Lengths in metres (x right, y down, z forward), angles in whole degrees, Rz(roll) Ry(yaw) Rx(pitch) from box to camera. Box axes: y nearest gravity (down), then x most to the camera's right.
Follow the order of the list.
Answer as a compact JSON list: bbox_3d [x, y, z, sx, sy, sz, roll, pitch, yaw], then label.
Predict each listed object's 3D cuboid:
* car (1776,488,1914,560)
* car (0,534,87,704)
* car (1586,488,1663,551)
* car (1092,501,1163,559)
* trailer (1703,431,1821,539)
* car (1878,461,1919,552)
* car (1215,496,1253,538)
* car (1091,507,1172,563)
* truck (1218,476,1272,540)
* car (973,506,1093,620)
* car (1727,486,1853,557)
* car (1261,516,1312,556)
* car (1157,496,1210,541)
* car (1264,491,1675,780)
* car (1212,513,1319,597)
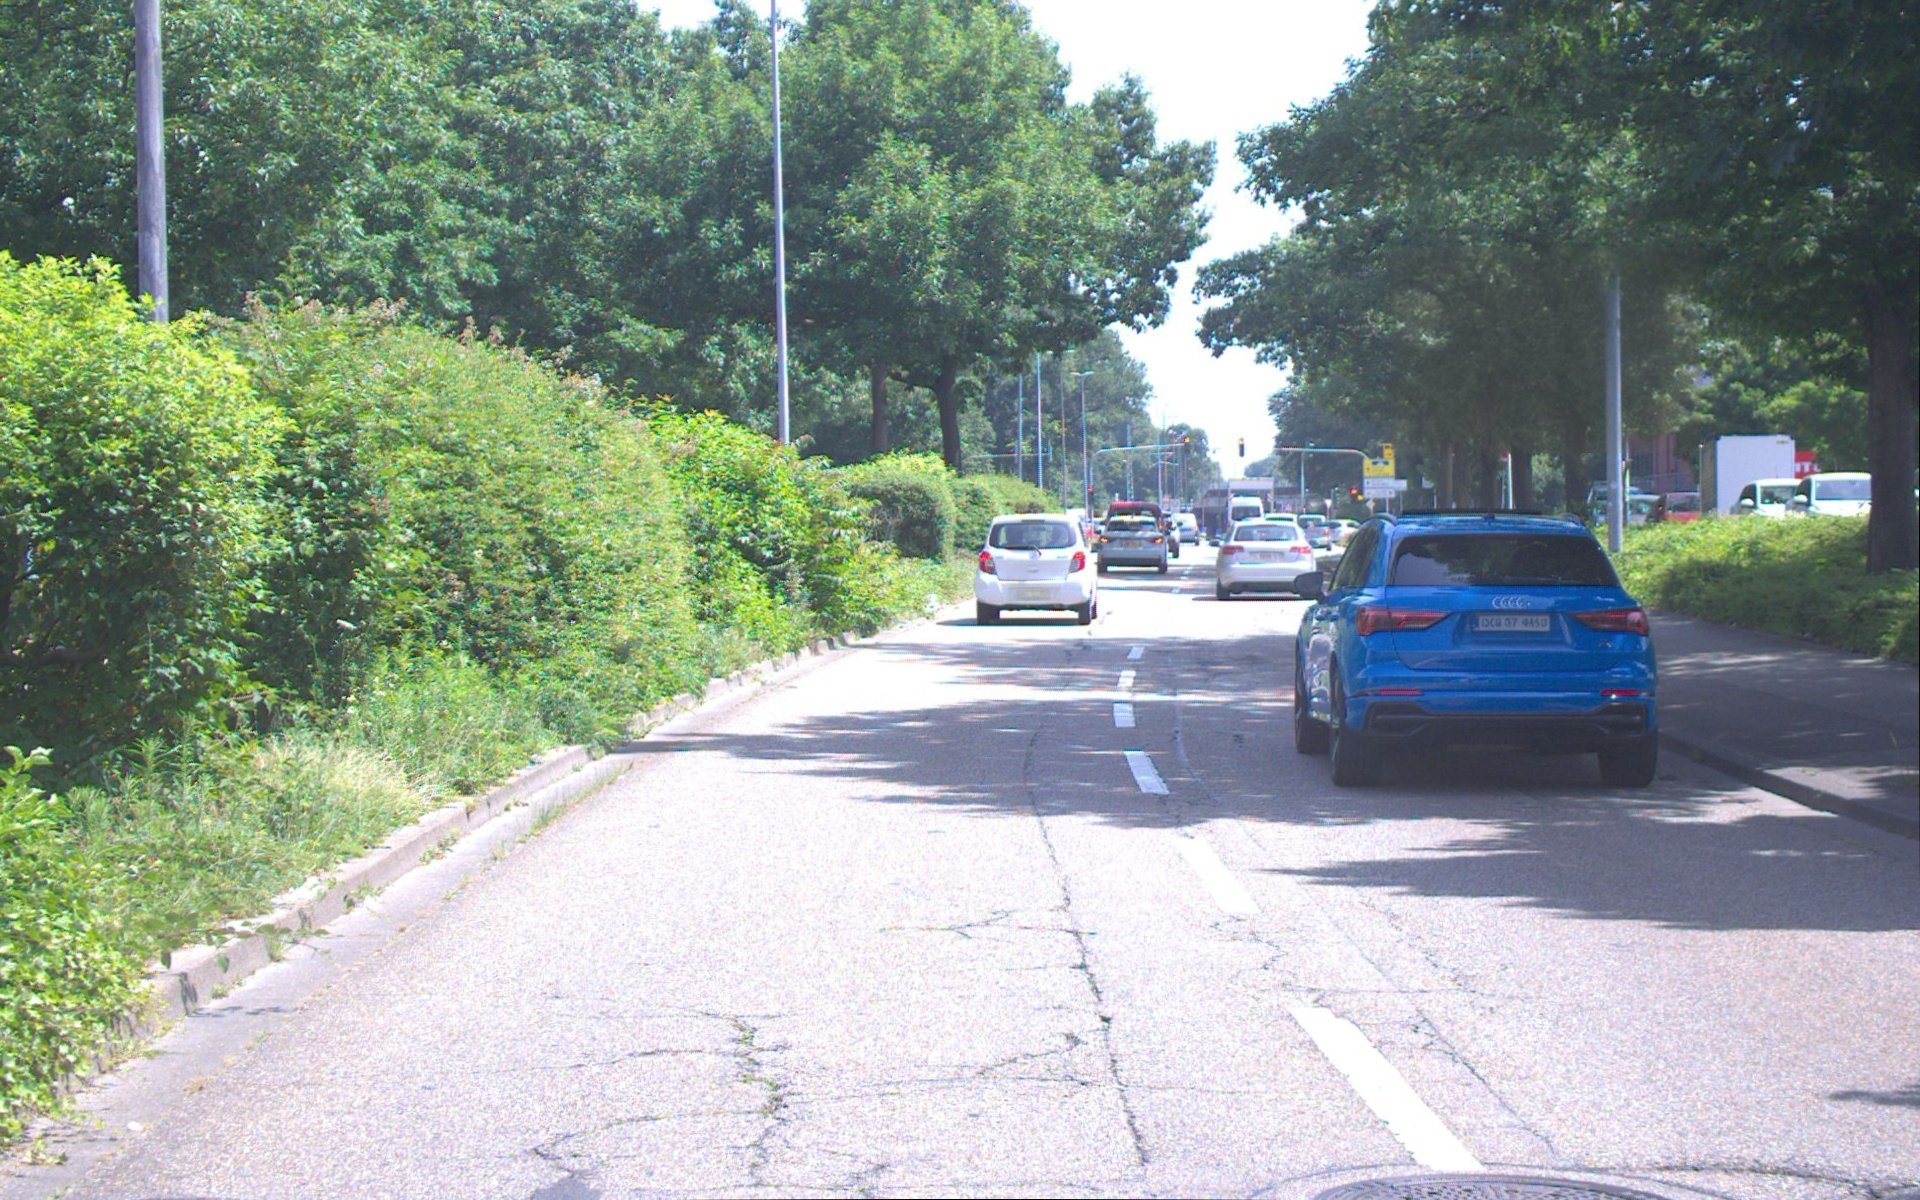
[{"bbox_3d":[14.746,-1.245,57.421,1.593,1.154,3.737,0,0,4],"label":"car"},{"bbox_3d":[-10.086,0.190,34.364,1.732,1.632,3.471,-2,1,1],"label":"car"},{"bbox_3d":[17.907,-2.149,92.722,1.701,1.632,3.904,0,0,6],"label":"car"},{"bbox_3d":[4.844,-2.013,98.741,1.885,1.603,4.000,-1,1,4],"label":"car"},{"bbox_3d":[15.892,-2.256,68.327,1.701,2.048,5.482,0,1,7],"label":"trailer"},{"bbox_3d":[14.404,-1.341,49.903,1.619,1.248,3.865,0,0,8],"label":"car"},{"bbox_3d":[14.908,-4.513,187.007,1.994,2.248,4.000,-1,1,5],"label":"car"},{"bbox_3d":[4.307,-1.600,85.969,1.885,1.349,3.999,0,0,5],"label":"car"},{"bbox_3d":[16.317,-5.246,197.021,2.932,3.490,9.156,-1,1,5],"label":"truck"},{"bbox_3d":[1.016,-0.516,48.559,1.638,1.547,3.325,0,0,1],"label":"car"},{"bbox_3d":[15.195,-1.429,63.095,1.619,1.248,3.630,0,0,3],"label":"car"},{"bbox_3d":[11.814,-2.314,124.672,1.441,1.343,3.460,-2,1,0],"label":"car"},{"bbox_3d":[7.217,-2.625,111.252,1.487,1.387,3.307,0,0,0],"label":"car"},{"bbox_3d":[2.997,0.180,21.090,1.808,1.587,4.349,0,0,-1],"label":"car"},{"bbox_3d":[5.491,-0.796,62.042,1.866,1.468,3.999,0,0,4],"label":"car"}]
